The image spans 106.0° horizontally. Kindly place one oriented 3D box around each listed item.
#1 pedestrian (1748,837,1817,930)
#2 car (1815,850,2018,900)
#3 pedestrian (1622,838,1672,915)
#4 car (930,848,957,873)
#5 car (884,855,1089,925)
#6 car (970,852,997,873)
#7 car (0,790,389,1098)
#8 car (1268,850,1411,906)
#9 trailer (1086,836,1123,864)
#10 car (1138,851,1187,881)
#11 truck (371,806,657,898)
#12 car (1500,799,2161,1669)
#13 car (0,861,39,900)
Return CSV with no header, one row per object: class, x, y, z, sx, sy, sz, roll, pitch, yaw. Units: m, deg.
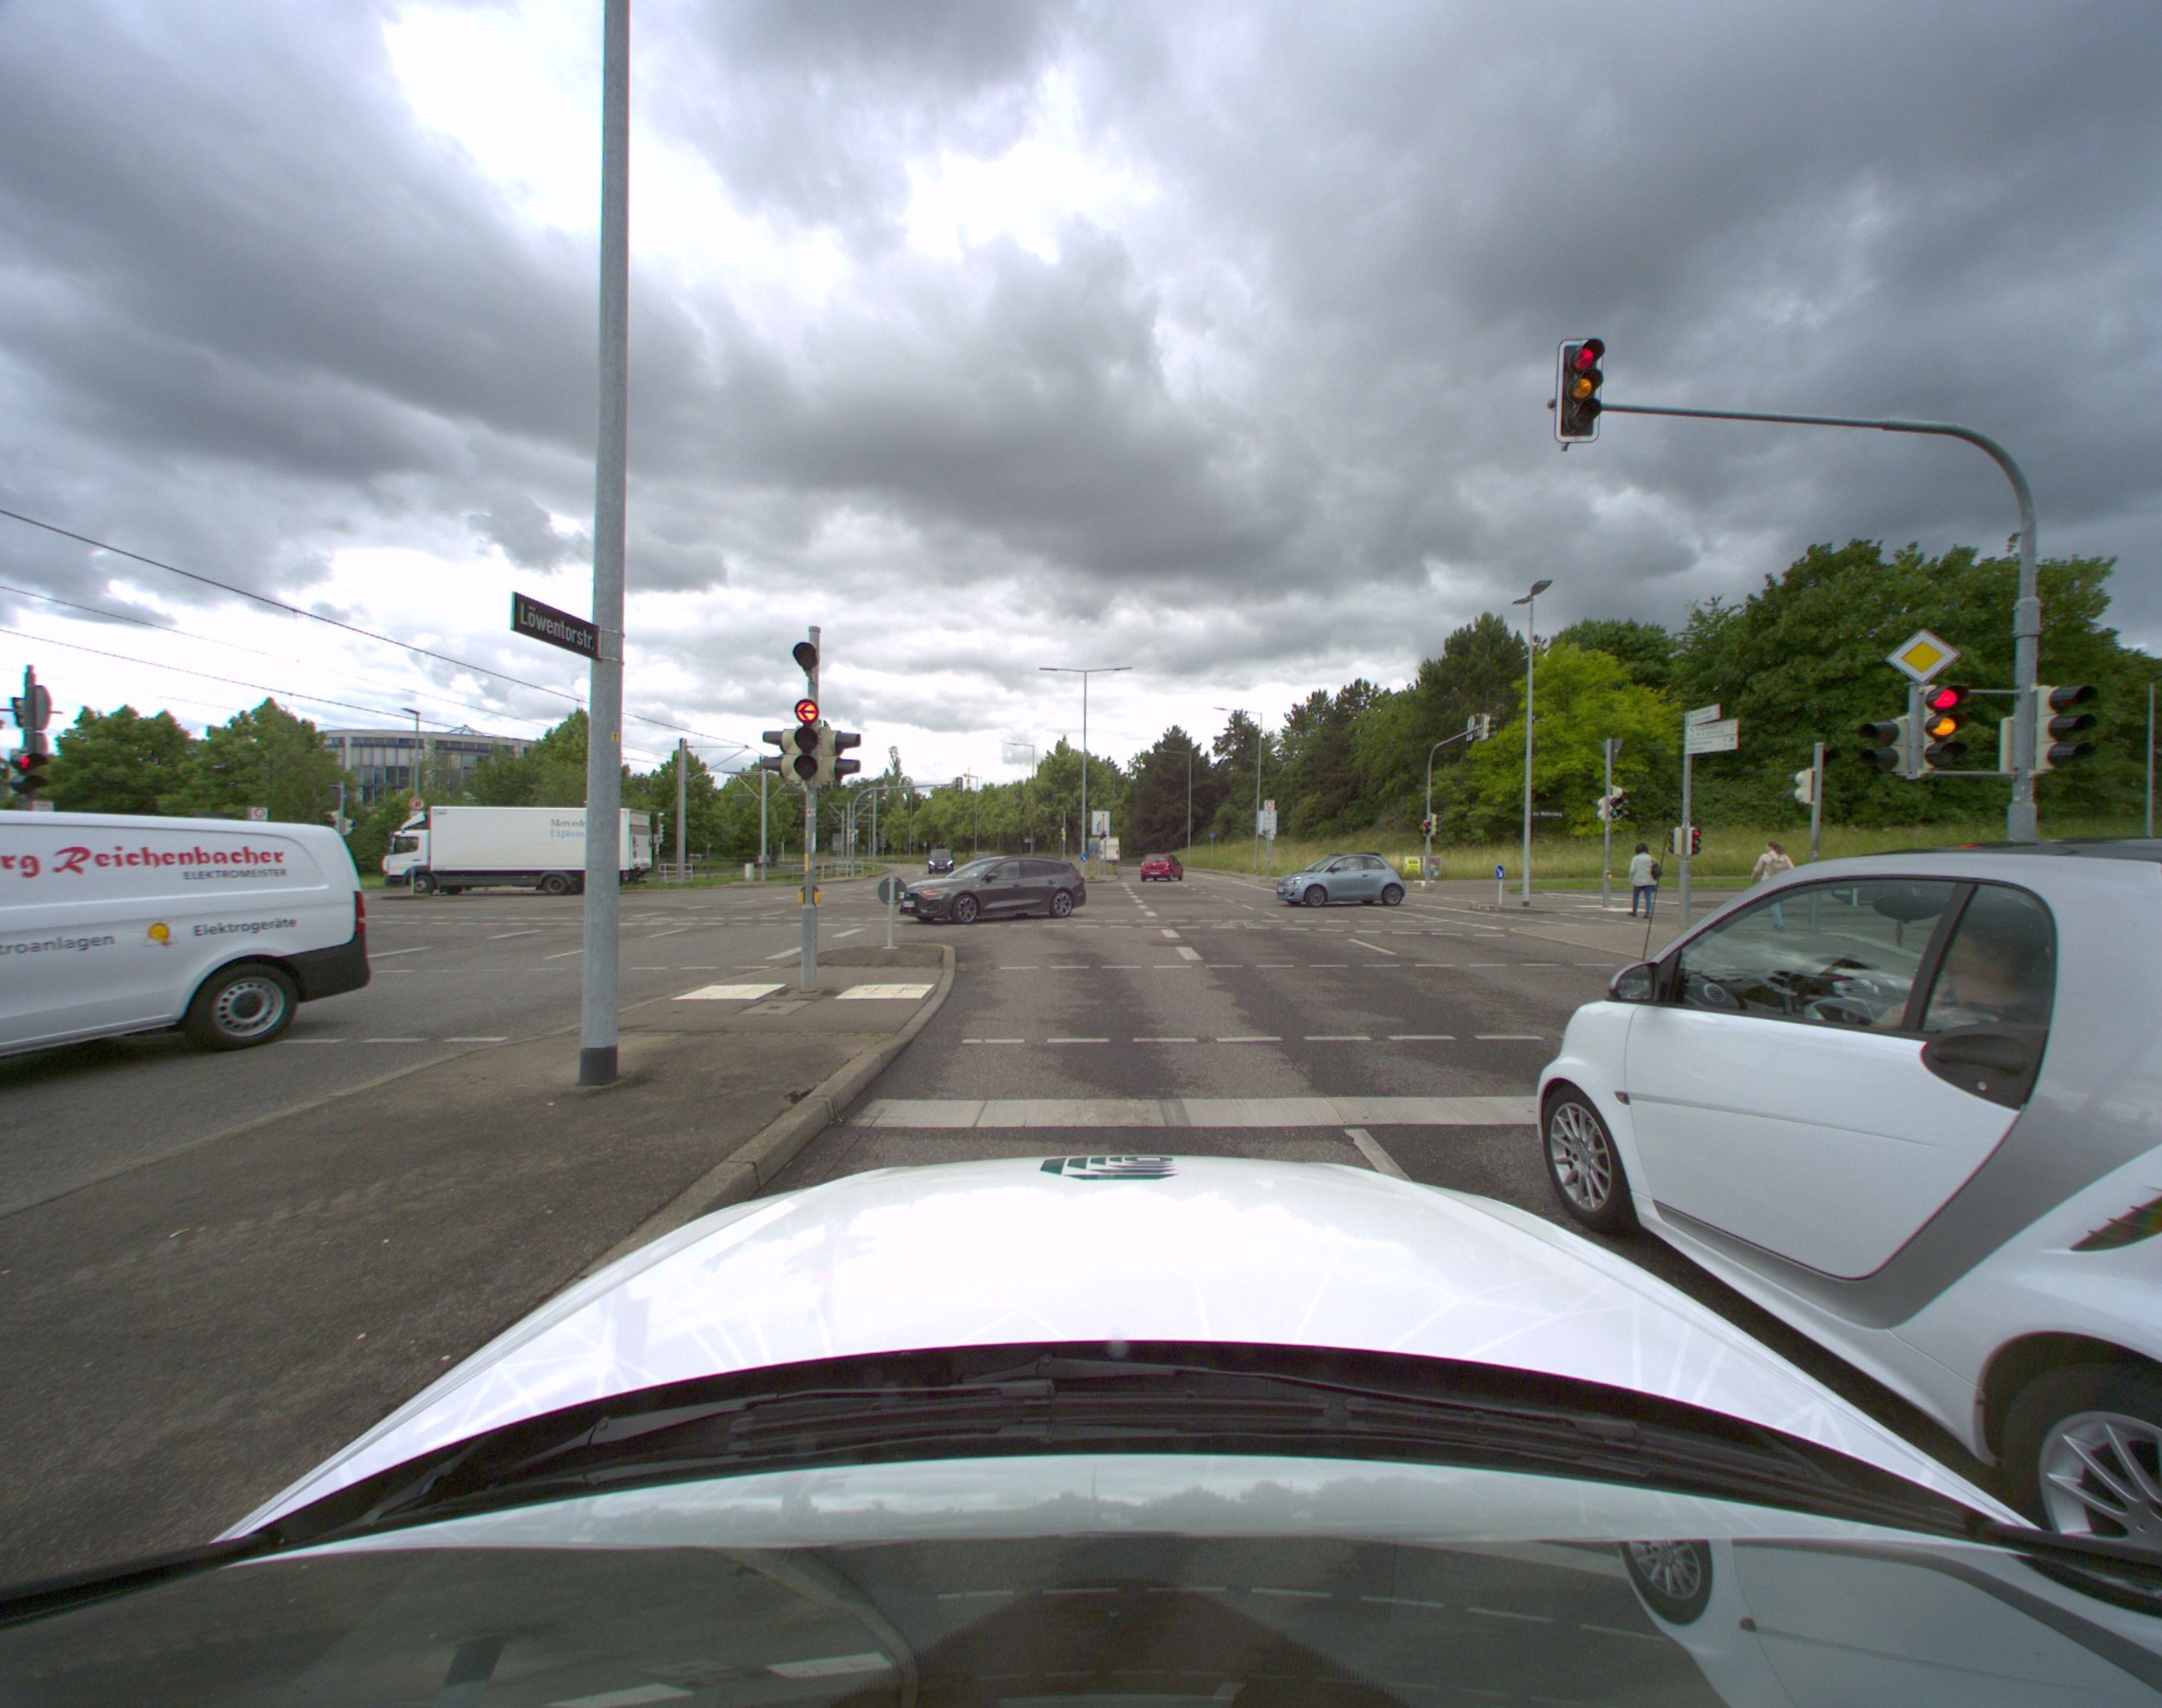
pedestrian,12.579,0.519,14.619,0.640,1.612,0.715,-1,-1,7
car,23.564,0.591,23.086,3.859,1.338,1.698,0,-1,4
pedestrian,12.595,0.498,18.141,0.640,1.662,0.715,-1,-1,8
car,-10.628,0.502,63.219,1.886,1.812,5.079,-1,0,-7
car,-2.105,0.749,18.910,4.456,1.424,1.854,0,-1,-41
car,-7.344,0.632,61.806,1.732,1.508,3.656,0,-1,-3
car,-7.875,0.579,5.117,1.904,1.964,5.387,-1,-1,9
car,7.501,0.679,23.811,3.585,1.528,1.758,0,-1,-7
trailer,2.625,-0.433,92.107,2.750,3.012,6.059,0,-1,-13
car,4.596,0.638,45.670,1.769,1.603,3.907,-1,-1,21
truck,-23.180,-0.125,33.937,9.261,3.532,3.004,0,0,-13
car,2.725,0.664,2.459,1.585,1.516,2.768,0,-1,3
car,-47.283,1.130,34.659,3.960,1.596,2.054,-1,-1,12
